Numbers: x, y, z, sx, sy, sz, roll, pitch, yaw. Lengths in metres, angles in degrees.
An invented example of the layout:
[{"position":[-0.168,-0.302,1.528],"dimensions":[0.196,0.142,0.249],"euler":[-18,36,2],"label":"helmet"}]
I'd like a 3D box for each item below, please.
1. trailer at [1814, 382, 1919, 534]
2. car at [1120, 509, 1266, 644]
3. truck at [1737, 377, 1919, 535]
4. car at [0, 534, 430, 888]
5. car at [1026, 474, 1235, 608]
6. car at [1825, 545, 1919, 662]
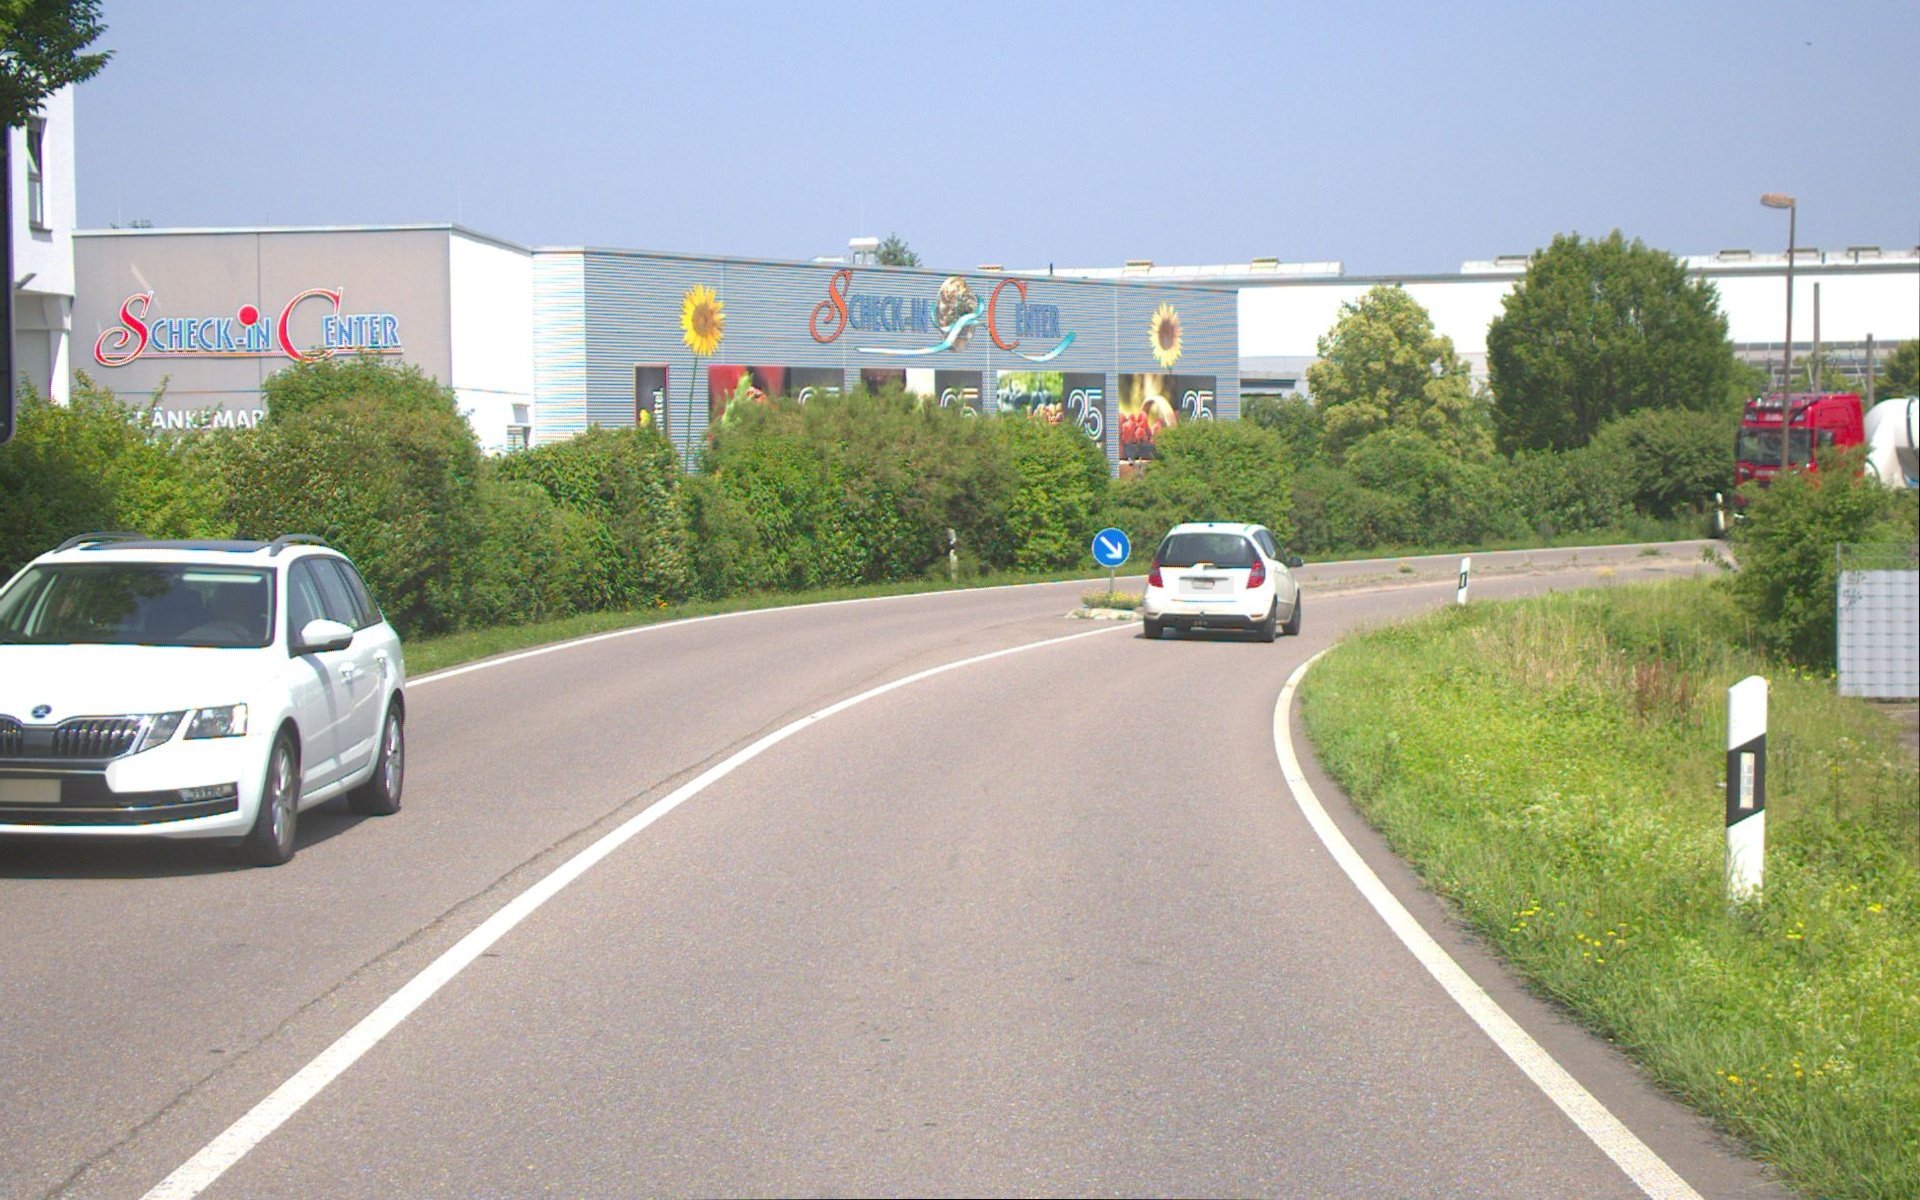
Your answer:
[{"position":[27.657,-3.832,95.544],"dimensions":[8.670,4.016,2.888],"euler":[0,1,-39],"label":"trailer"},{"position":[3.179,-0.362,47.531],"dimensions":[1.781,1.597,3.893],"euler":[5,2,2],"label":"car"},{"position":[23.529,-3.784,92.084],"dimensions":[2.887,4.016,6.708],"euler":[1,1,35],"label":"truck"},{"position":[-3.852,0.426,16.667],"dimensions":[1.829,1.465,4.410],"euler":[1,1,1],"label":"car"},{"position":[2.713,-0.930,53.925],"dimensions":[1.996,2.007,3.995],"euler":[1,1,23],"label":"car"},{"position":[16.621,0.029,61.790],"dimensions":[1.995,2.007,3.998],"euler":[1,1,13],"label":"car"}]
